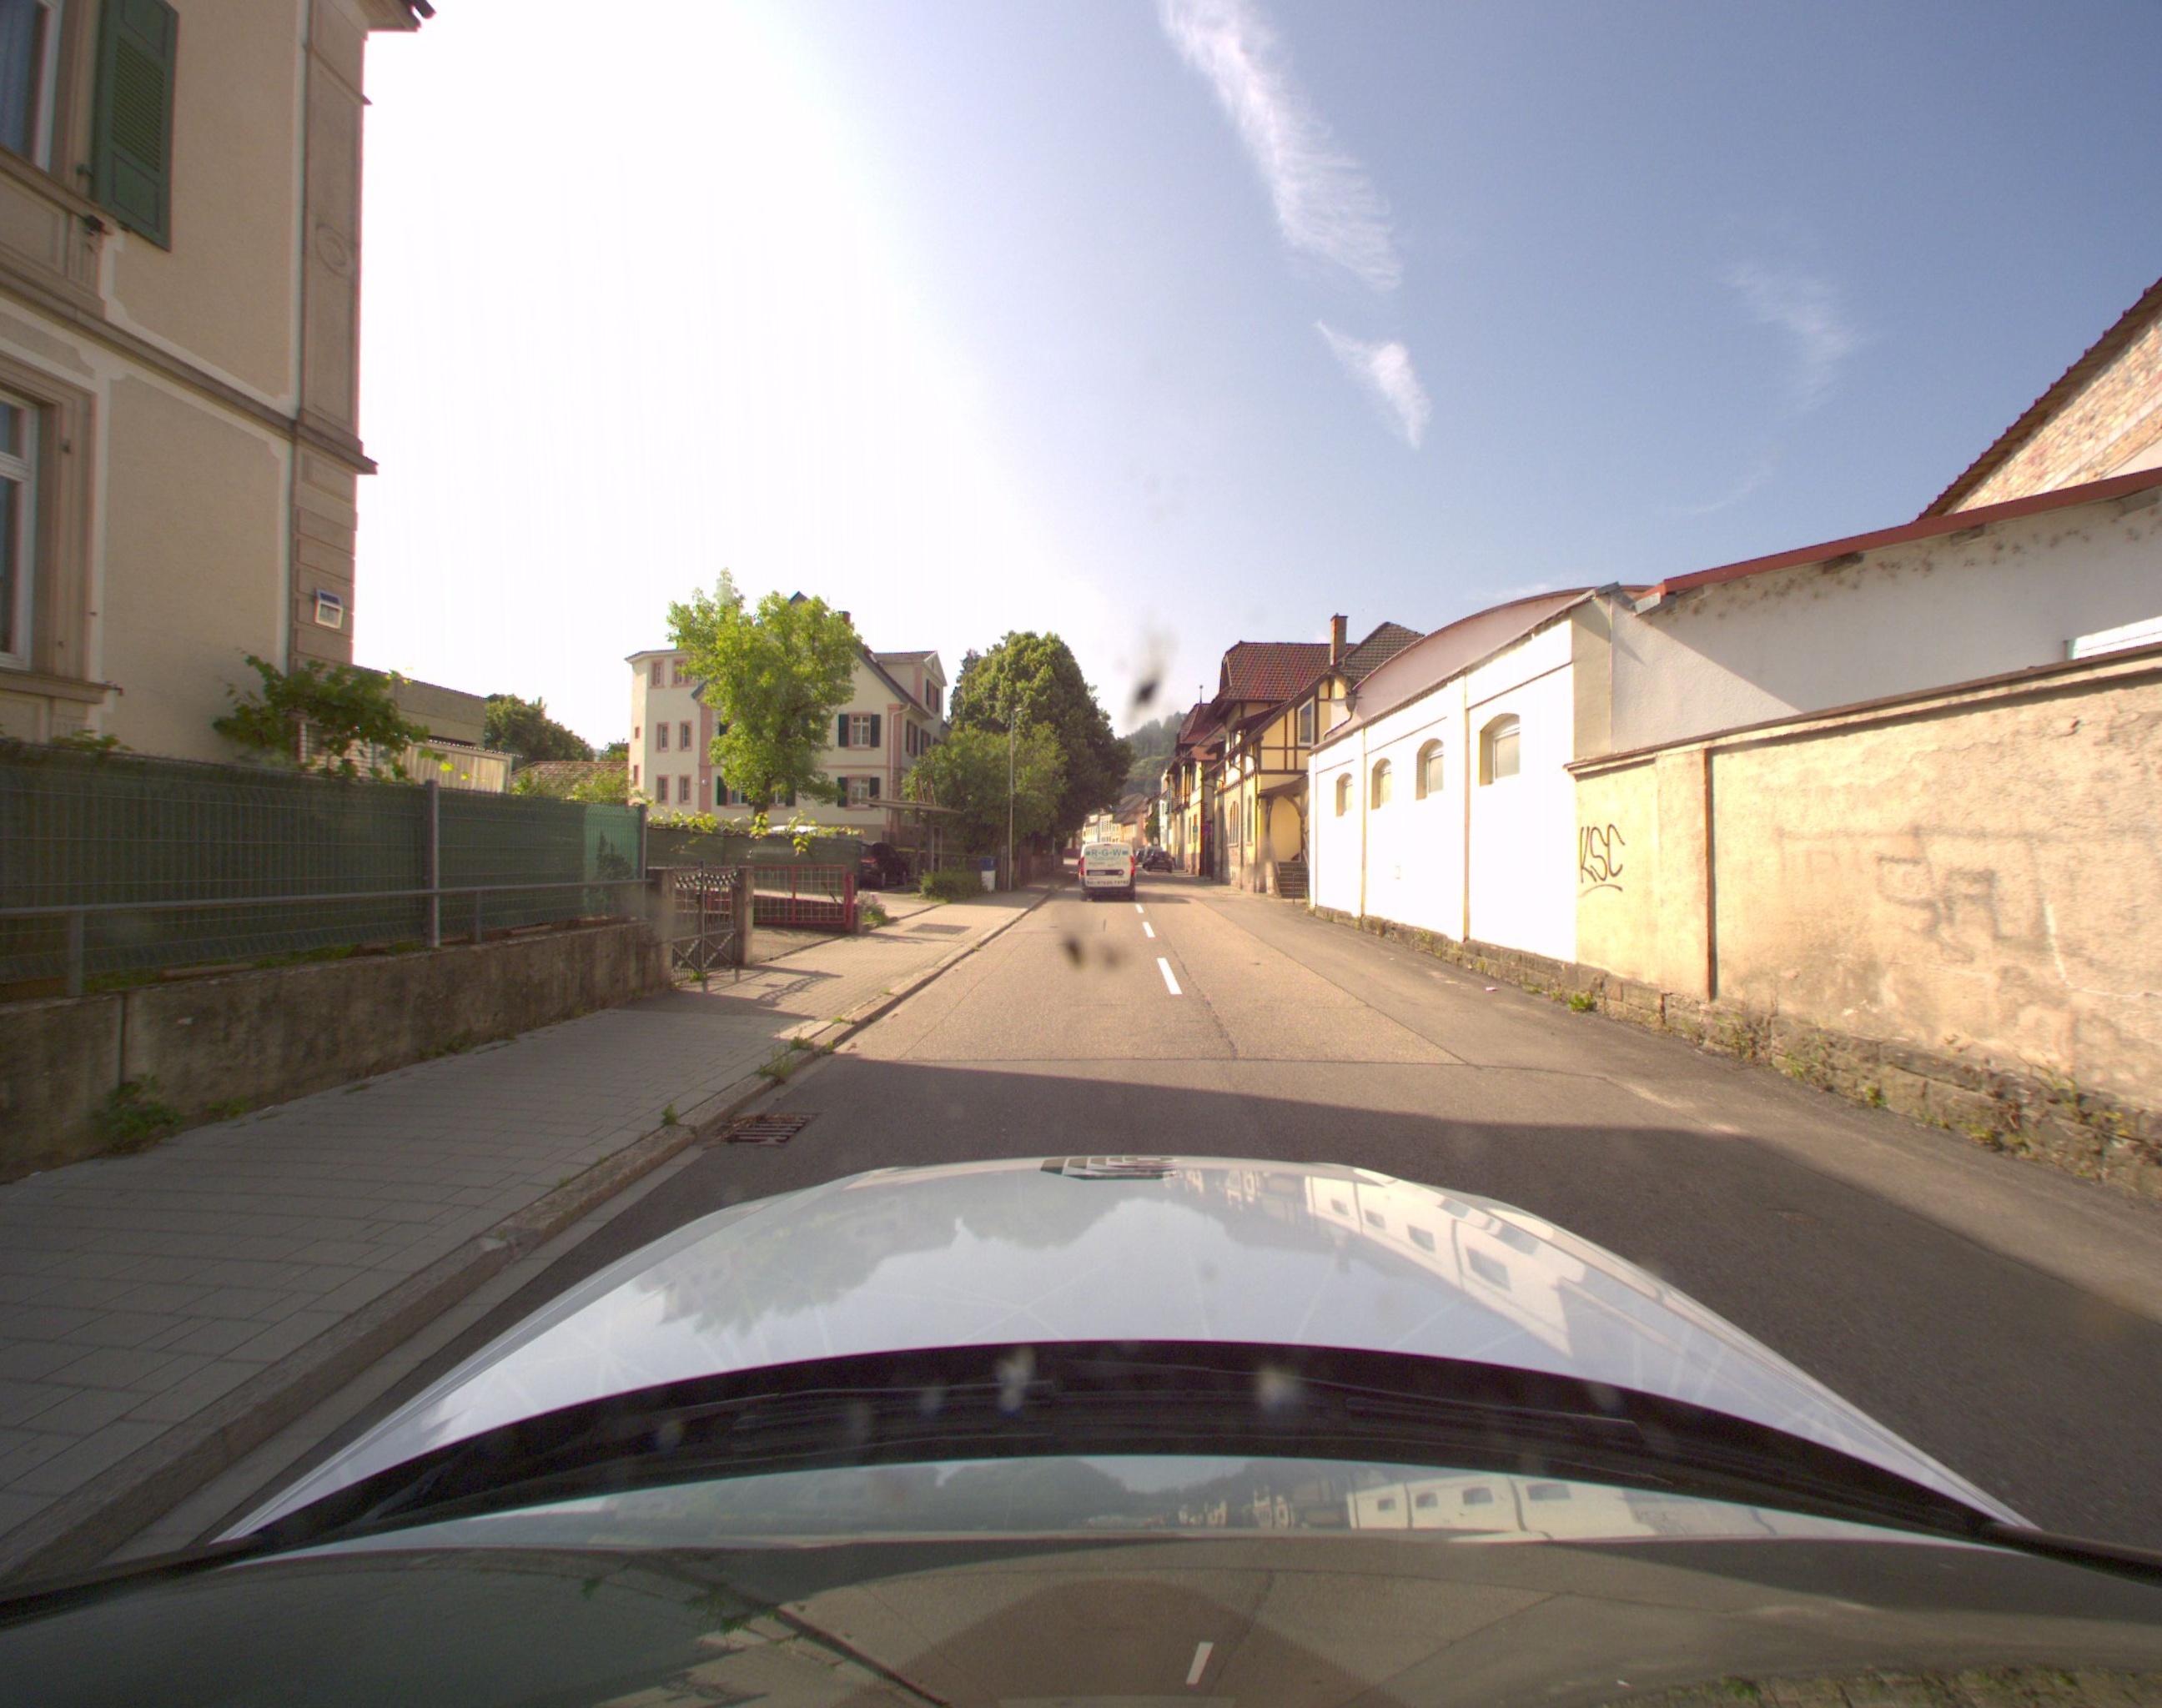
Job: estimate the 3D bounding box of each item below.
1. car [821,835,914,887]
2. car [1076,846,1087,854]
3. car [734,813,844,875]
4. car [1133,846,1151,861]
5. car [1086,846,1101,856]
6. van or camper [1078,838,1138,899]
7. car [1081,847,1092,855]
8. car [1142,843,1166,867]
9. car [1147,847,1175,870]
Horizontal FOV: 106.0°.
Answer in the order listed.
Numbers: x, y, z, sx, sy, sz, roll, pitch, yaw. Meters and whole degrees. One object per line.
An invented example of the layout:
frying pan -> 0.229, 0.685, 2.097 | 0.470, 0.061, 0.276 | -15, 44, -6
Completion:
car -> -6.749, 0.169, 26.195 | 1.609, 1.461, 4.397 | 3, 1, 2
car -> 0.082, -0.892, 187.823 | 1.771, 1.799, 3.988 | 1, 0, -9
car -> -9.603, -0.315, 27.235 | 1.817, 1.772, 4.682 | 4, 0, 0
car -> 6.564, -0.065, 88.271 | 1.664, 1.508, 4.000 | 0, 0, 0
car -> 2.398, -0.598, 156.875 | 1.993, 1.782, 3.988 | 3, 1, -9
van or camper -> 0.860, 0.445, 27.041 | 1.821, 1.844, 4.189 | 0, 0, 1
car -> 1.129, -0.716, 181.245 | 1.771, 1.799, 3.988 | 1, 0, -9
car -> 6.423, 0.052, 71.909 | 1.864, 2.013, 4.002 | 2, 0, 2
car -> 6.042, 0.345, 61.661 | 1.803, 1.596, 3.929 | 3, 1, 2
